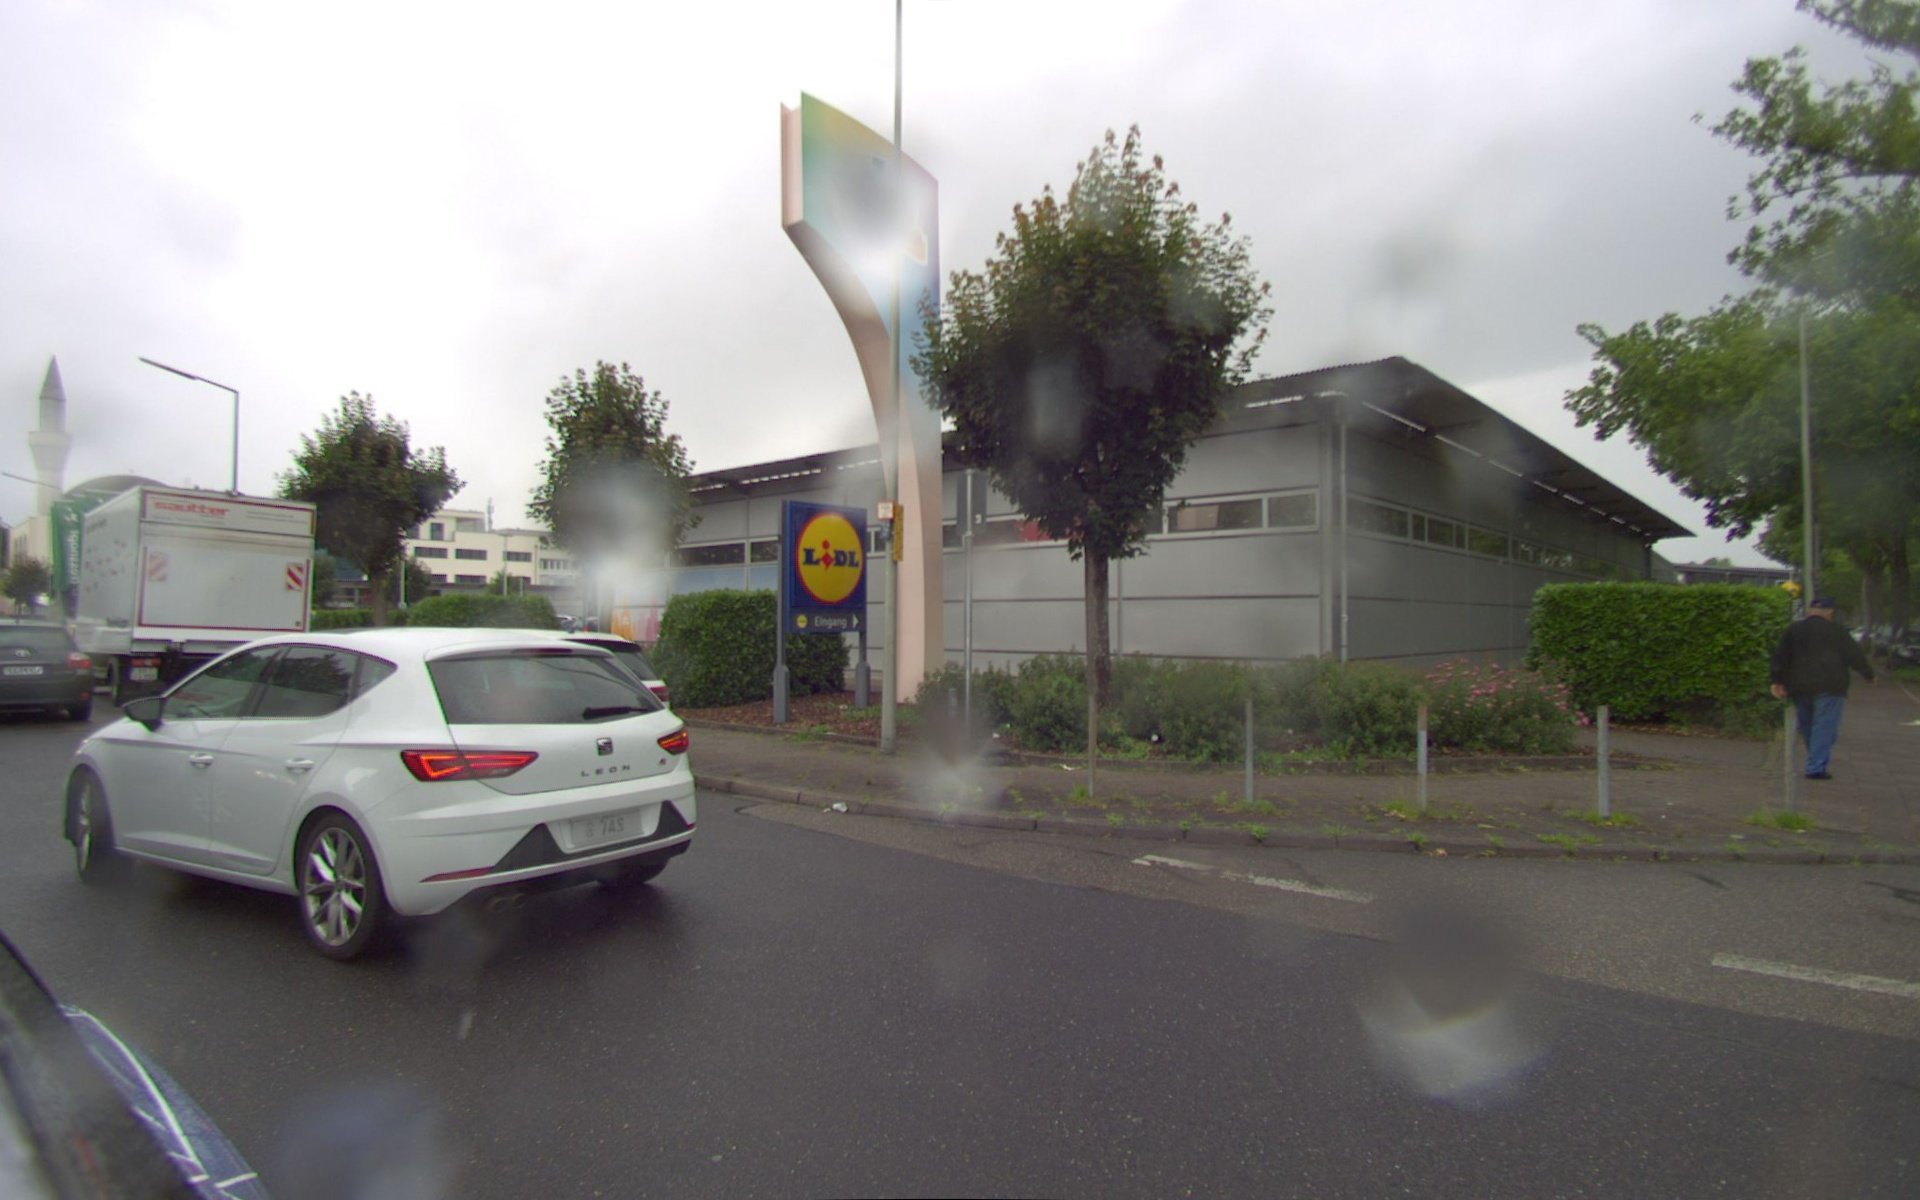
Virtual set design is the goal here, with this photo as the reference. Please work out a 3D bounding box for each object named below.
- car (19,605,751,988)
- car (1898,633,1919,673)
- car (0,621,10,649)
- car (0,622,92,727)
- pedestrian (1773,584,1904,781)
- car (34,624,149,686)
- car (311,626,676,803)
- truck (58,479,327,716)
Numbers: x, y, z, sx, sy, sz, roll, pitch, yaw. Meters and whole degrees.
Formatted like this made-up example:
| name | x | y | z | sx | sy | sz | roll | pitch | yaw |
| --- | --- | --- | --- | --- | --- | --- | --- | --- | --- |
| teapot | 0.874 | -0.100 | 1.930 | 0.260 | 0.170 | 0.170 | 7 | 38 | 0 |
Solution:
| name | x | y | z | sx | sy | sz | roll | pitch | yaw |
| --- | --- | --- | --- | --- | --- | --- | --- | --- | --- |
| car | -3.261 | 0.807 | 5.608 | 3.983 | 1.452 | 1.719 | -1 | -3 | 30 |
| car | 31.077 | 1.675 | 32.334 | 1.571 | 1.212 | 3.943 | -1 | -2 | 43 |
| car | -49.339 | 1.758 | 51.132 | 3.608 | 1.351 | 1.559 | -1 | -2 | 40 |
| car | -14.719 | 1.076 | 15.302 | 3.996 | 1.452 | 1.713 | -2 | -3 | 39 |
| pedestrian | 7.994 | 0.721 | 9.215 | 0.770 | 1.686 | 0.760 | 1 | -2 | -39 |
| car | -21.959 | 1.338 | 25.566 | 3.511 | 1.477 | 1.670 | -1 | -2 | 40 |
| car | -4.989 | 1.019 | 10.518 | 4.491 | 1.445 | 1.816 | -1 | -3 | 42 |
| truck | -15.293 | 0.045 | 19.889 | 7.867 | 3.775 | 2.850 | -1 | -2 | 43 |
